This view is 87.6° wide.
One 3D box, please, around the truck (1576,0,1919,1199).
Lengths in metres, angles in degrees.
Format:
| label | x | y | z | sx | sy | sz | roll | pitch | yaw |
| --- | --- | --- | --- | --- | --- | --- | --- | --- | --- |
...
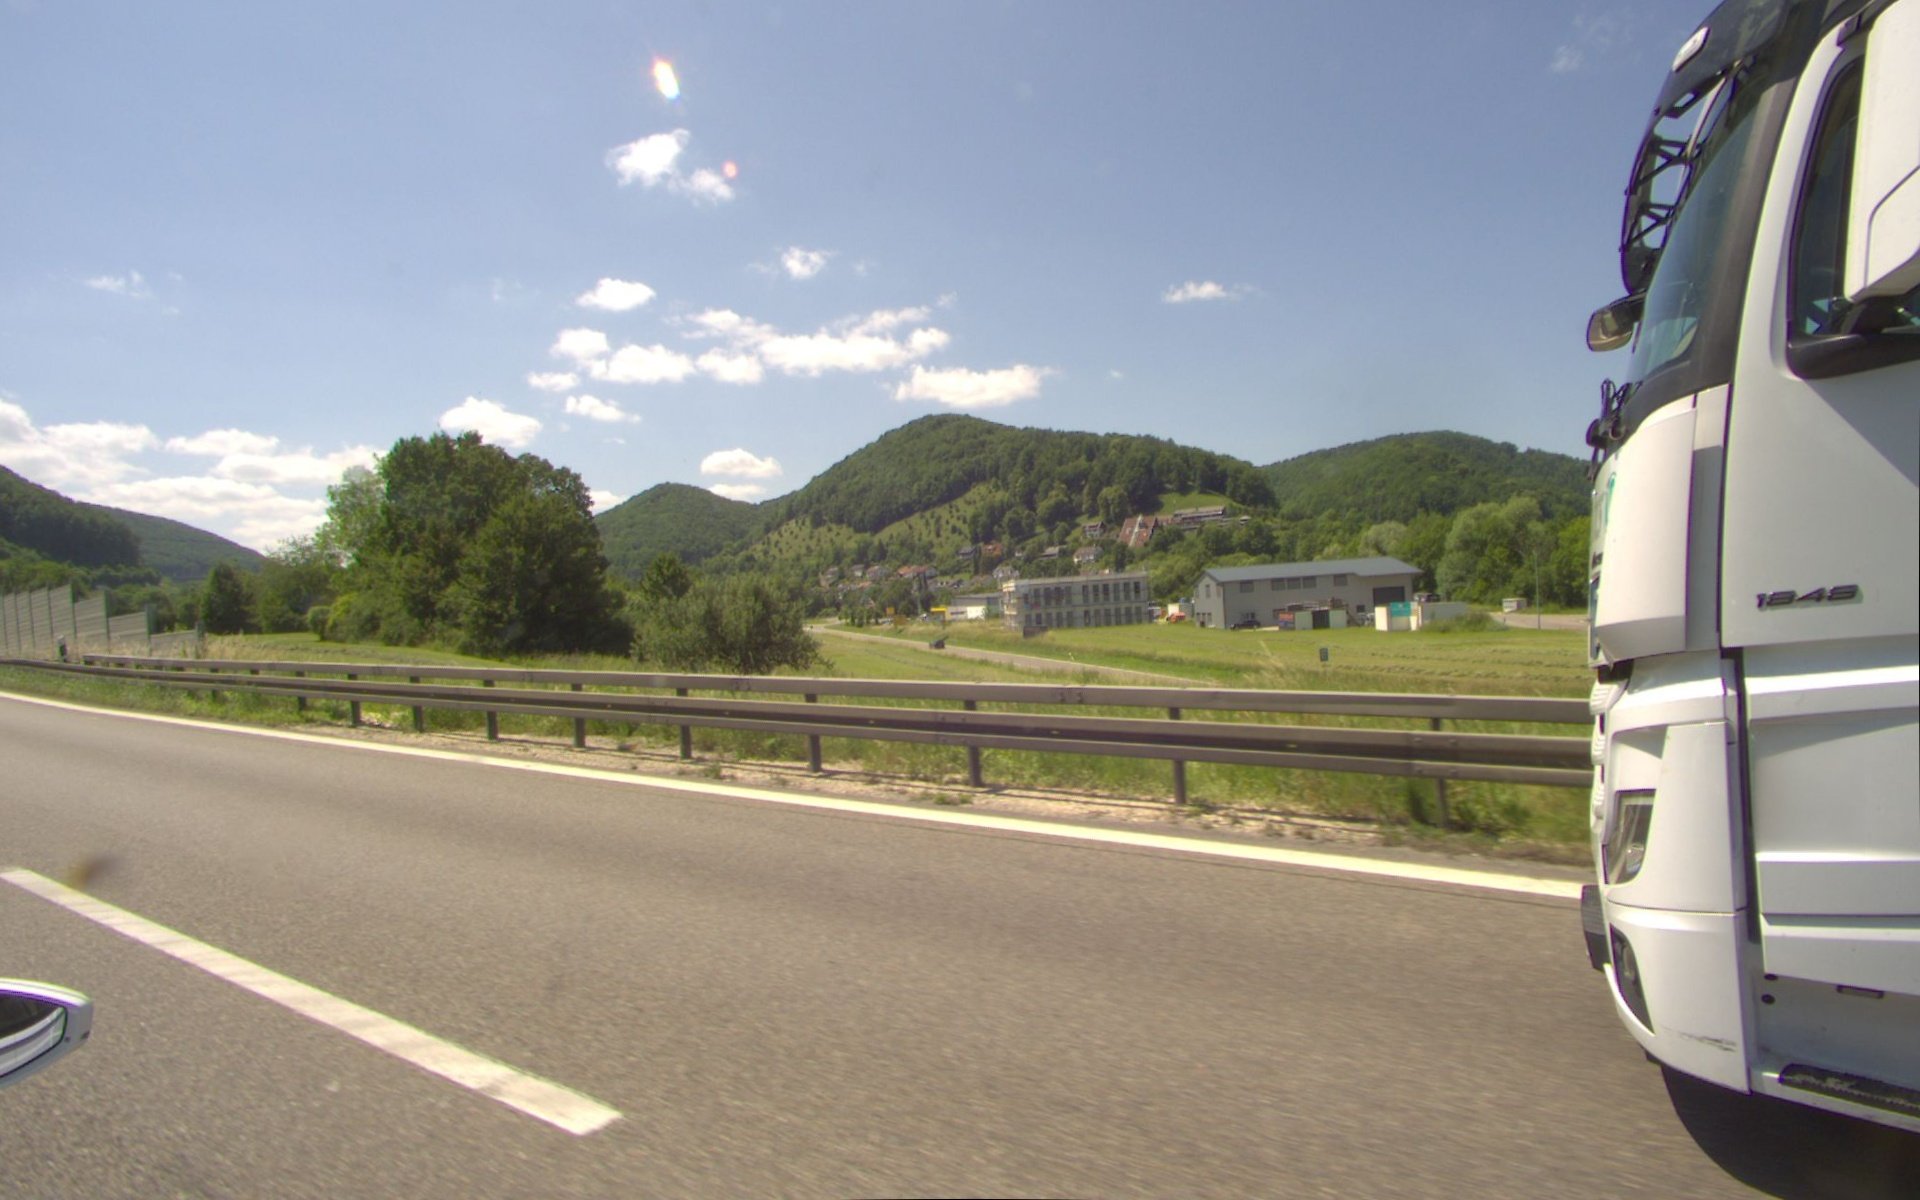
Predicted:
| label | x | y | z | sx | sy | sz | roll | pitch | yaw |
| --- | --- | --- | --- | --- | --- | --- | --- | --- | --- |
| truck | 4.764 | -0.559 | 2.235 | 5.671 | 4.120 | 2.715 | -1 | -1 | 31 |
